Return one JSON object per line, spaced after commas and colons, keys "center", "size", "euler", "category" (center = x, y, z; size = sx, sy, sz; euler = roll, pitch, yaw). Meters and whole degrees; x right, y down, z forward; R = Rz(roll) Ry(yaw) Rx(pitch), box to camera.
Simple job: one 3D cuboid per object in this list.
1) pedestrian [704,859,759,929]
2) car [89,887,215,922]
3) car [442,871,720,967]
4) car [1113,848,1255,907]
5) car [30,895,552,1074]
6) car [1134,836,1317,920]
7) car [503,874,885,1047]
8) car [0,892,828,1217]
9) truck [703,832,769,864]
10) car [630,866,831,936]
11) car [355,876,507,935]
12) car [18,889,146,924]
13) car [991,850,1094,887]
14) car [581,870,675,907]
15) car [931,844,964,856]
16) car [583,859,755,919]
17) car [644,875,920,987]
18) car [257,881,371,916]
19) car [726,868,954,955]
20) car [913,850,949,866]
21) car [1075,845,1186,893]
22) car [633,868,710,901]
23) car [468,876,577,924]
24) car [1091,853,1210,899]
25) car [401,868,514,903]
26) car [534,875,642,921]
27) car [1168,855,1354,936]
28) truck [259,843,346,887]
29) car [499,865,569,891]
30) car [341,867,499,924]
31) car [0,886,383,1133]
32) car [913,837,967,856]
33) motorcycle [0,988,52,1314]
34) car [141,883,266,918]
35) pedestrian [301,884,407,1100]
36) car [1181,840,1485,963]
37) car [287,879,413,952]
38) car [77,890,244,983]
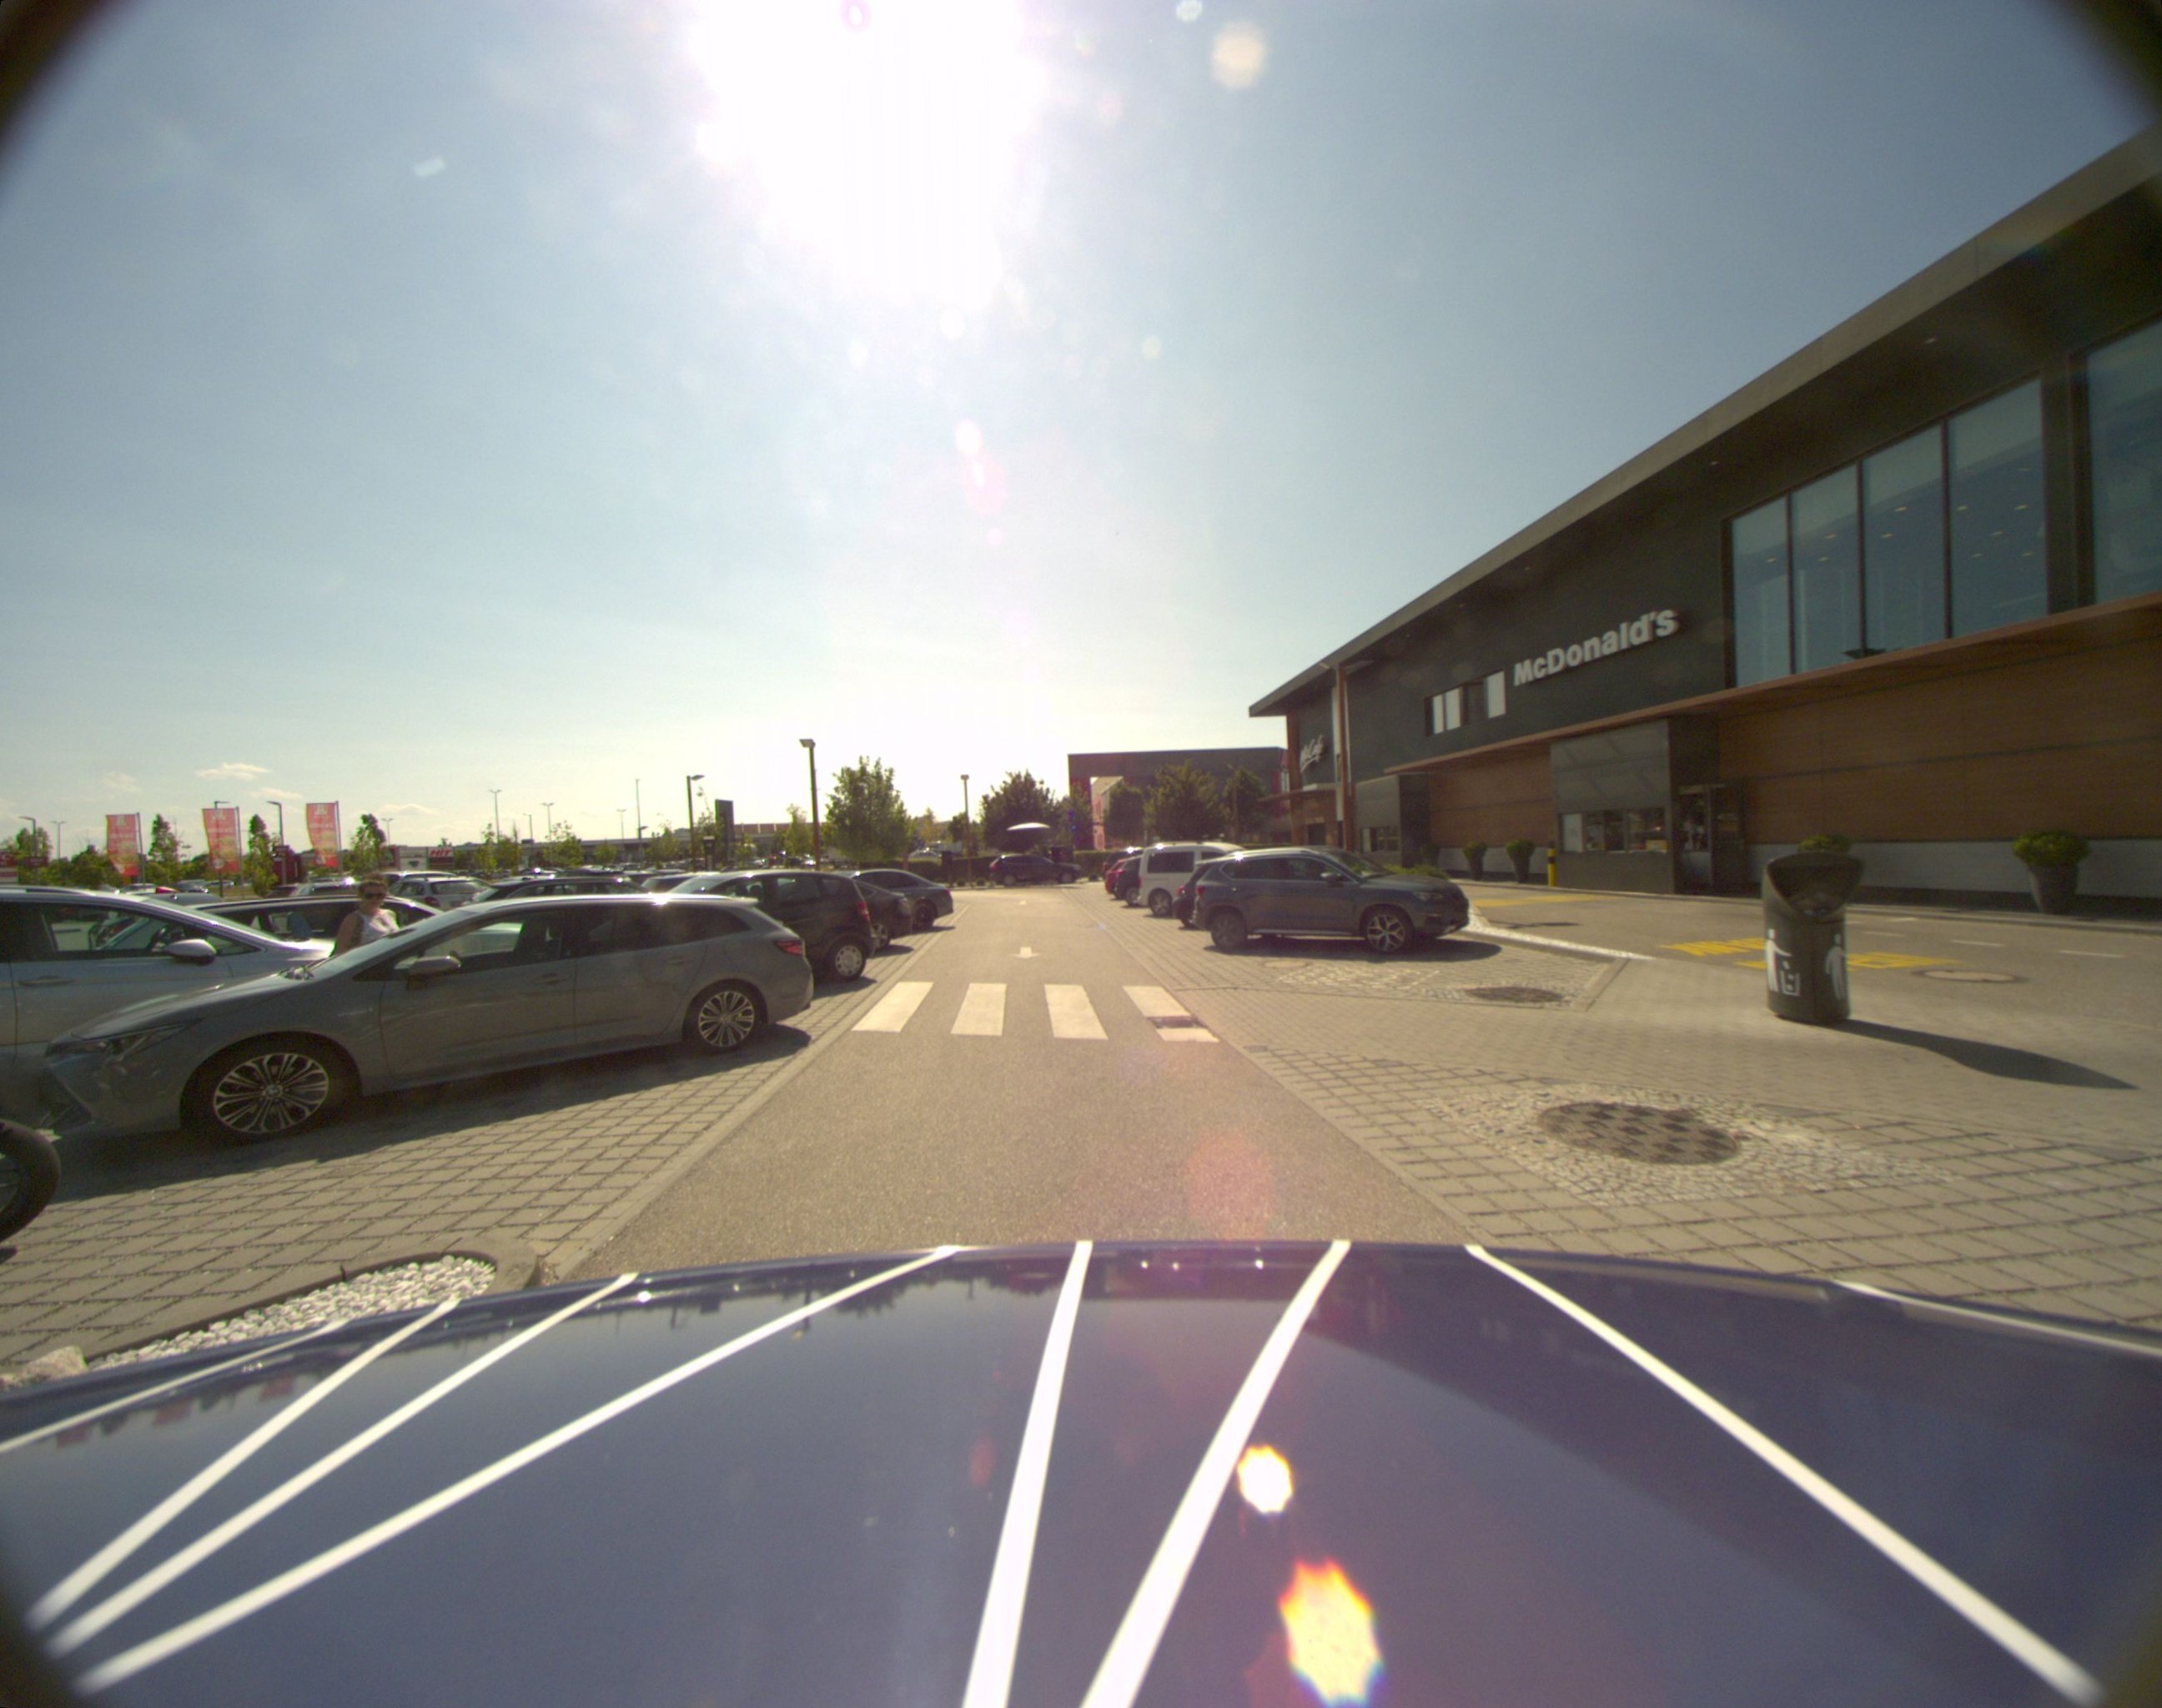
{"center": [-9.941, 1.118, 21.646], "size": [1.027, 1.905, 0.903], "euler": [-2, 1, 8], "category": "pedestrian"}
{"center": [-47.710, 2.575, 39.141], "size": [1.686, 1.445, 3.755], "euler": [-2, 1, 3], "category": "car"}
{"center": [-10.264, 1.221, 15.878], "size": [1.978, 1.502, 4.425], "euler": [-1, 1, 42], "category": "car"}
{"center": [3.094, 0.705, 23.023], "size": [3.834, 1.622, 1.761], "euler": [-2, 1, 29], "category": "car"}
{"center": [-9.136, 1.330, 9.227], "size": [1.788, 1.400, 4.090], "euler": [-1, 0, 40], "category": "car"}
{"center": [3.607, 0.589, 19.287], "size": [4.134, 1.910, 1.761], "euler": [-2, 1, 35], "category": "car"}
{"center": [-4.827, 1.153, 9.910], "size": [1.807, 1.584, 4.008], "euler": [-1, 1, 43], "category": "car"}
{"center": [-4.686, 1.140, 6.150], "size": [1.830, 1.438, 4.672], "euler": [-2, -1, 43], "category": "car"}
{"center": [-38.114, -0.662, 83.848], "size": [7.546, 3.333, 2.426], "euler": [-1, 2, 29], "category": "truck"}
{"center": [-9.292, 1.169, 20.434], "size": [1.978, 1.502, 4.426], "euler": [-2, 1, 42], "category": "car"}
{"center": [-18.850, 1.458, 22.018], "size": [4.341, 1.503, 1.782], "euler": [-2, 1, 27], "category": "car"}
{"center": [-52.907, 2.747, 40.359], "size": [1.686, 1.503, 3.755], "euler": [-2, 1, 3], "category": "car"}
{"center": [-2.002, 0.705, 38.927], "size": [5.063, 1.620, 1.923], "euler": [-2, 1, -6], "category": "car"}
{"center": [-19.422, 1.442, 32.545], "size": [4.075, 1.414, 1.801], "euler": [-2, 1, 34], "category": "car"}
{"center": [-16.780, -0.485, 95.358], "size": [3.907, 1.334, 1.664], "euler": [-2, 1, -5], "category": "car"}
{"center": [-11.616, 0.935, 21.590], "size": [1.702, 1.418, 3.911], "euler": [-1, 1, 43], "category": "car"}
{"center": [-5.096, 1.208, 13.376], "size": [1.823, 1.440, 4.084], "euler": [-1, 1, 42], "category": "car"}
{"center": [-38.053, 2.168, 37.841], "size": [1.686, 1.445, 3.755], "euler": [-2, 1, 3], "category": "car"}
{"center": [-5.310, 1.185, 17.254], "size": [1.882, 1.502, 4.551], "euler": [-1, 1, 42], "category": "car"}
{"center": [-17.765, 0.459, 90.091], "size": [4.000, 1.718, 1.893], "euler": [-2, 1, -8], "category": "car"}
{"center": [1.980, 0.592, 30.199], "size": [4.031, 1.696, 1.677], "euler": [-2, 1, 18], "category": "car"}
{"center": [-19.857, 1.473, 36.795], "size": [3.765, 1.414, 1.917], "euler": [-2, 1, 39], "category": "car"}
{"center": [-18.709, 1.477, 25.364], "size": [4.669, 1.403, 1.716], "euler": [-2, 1, 39], "category": "car"}
{"center": [2.462, 0.788, 26.792], "size": [3.764, 1.435, 1.677], "euler": [-3, 1, 24], "category": "car"}
{"center": [-30.223, 1.496, 37.020], "size": [1.887, 1.390, 4.155], "euler": [-2, 1, 3], "category": "car"}
{"center": [-18.981, 1.672, 29.256], "size": [4.044, 1.547, 1.810], "euler": [-2, 1, 31], "category": "car"}
{"center": [3.752, 0.837, 15.957], "size": [3.406, 1.473, 1.571], "euler": [-2, 1, 34], "category": "car"}
{"center": [-72.656, 1.058, 70.859], "size": [9.106, 3.844, 3.216], "euler": [-2, 1, 29], "category": "truck"}
{"center": [-47.333, 2.083, 65.824], "size": [5.013, 2.002, 2.001], "euler": [-2, 1, 13], "category": "car"}
{"center": [-24.129, 1.444, 28.019], "size": [2.071, 1.740, 4.365], "euler": [-2, 1, -3], "category": "car"}
{"center": [-8.374, 1.185, 5.931], "size": [1.743, 1.630, 4.075], "euler": [-1, 1, 41], "category": "car"}
{"center": [-18.151, -0.983, 98.193], "size": [6.569, 2.231, 2.299], "euler": [-2, 1, -5], "category": "car"}
{"center": [-5.178, 1.238, 2.449], "size": [0.818, 1.224, 2.145], "euler": [-2, 0, 34], "category": "motorcycle"}
{"center": [-43.738, 2.282, 38.001], "size": [1.686, 1.445, 3.755], "euler": [-2, 1, 3], "category": "car"}
{"center": [-6.185, 1.124, 6.497], "size": [0.564, 1.703, 0.609], "euler": [-3, 1, -41], "category": "pedestrian"}
{"center": [3.970, 0.752, 12.345], "size": [4.216, 1.594, 1.794], "euler": [-4, 1, 40], "category": "car"}
{"center": [-17.754, 1.395, 18.392], "size": [3.989, 1.480, 1.824], "euler": [-2, 1, 41], "category": "car"}
{"center": [-17.650, 1.477, 14.739], "size": [3.989, 1.395, 1.824], "euler": [-2, 1, 42], "category": "car"}
